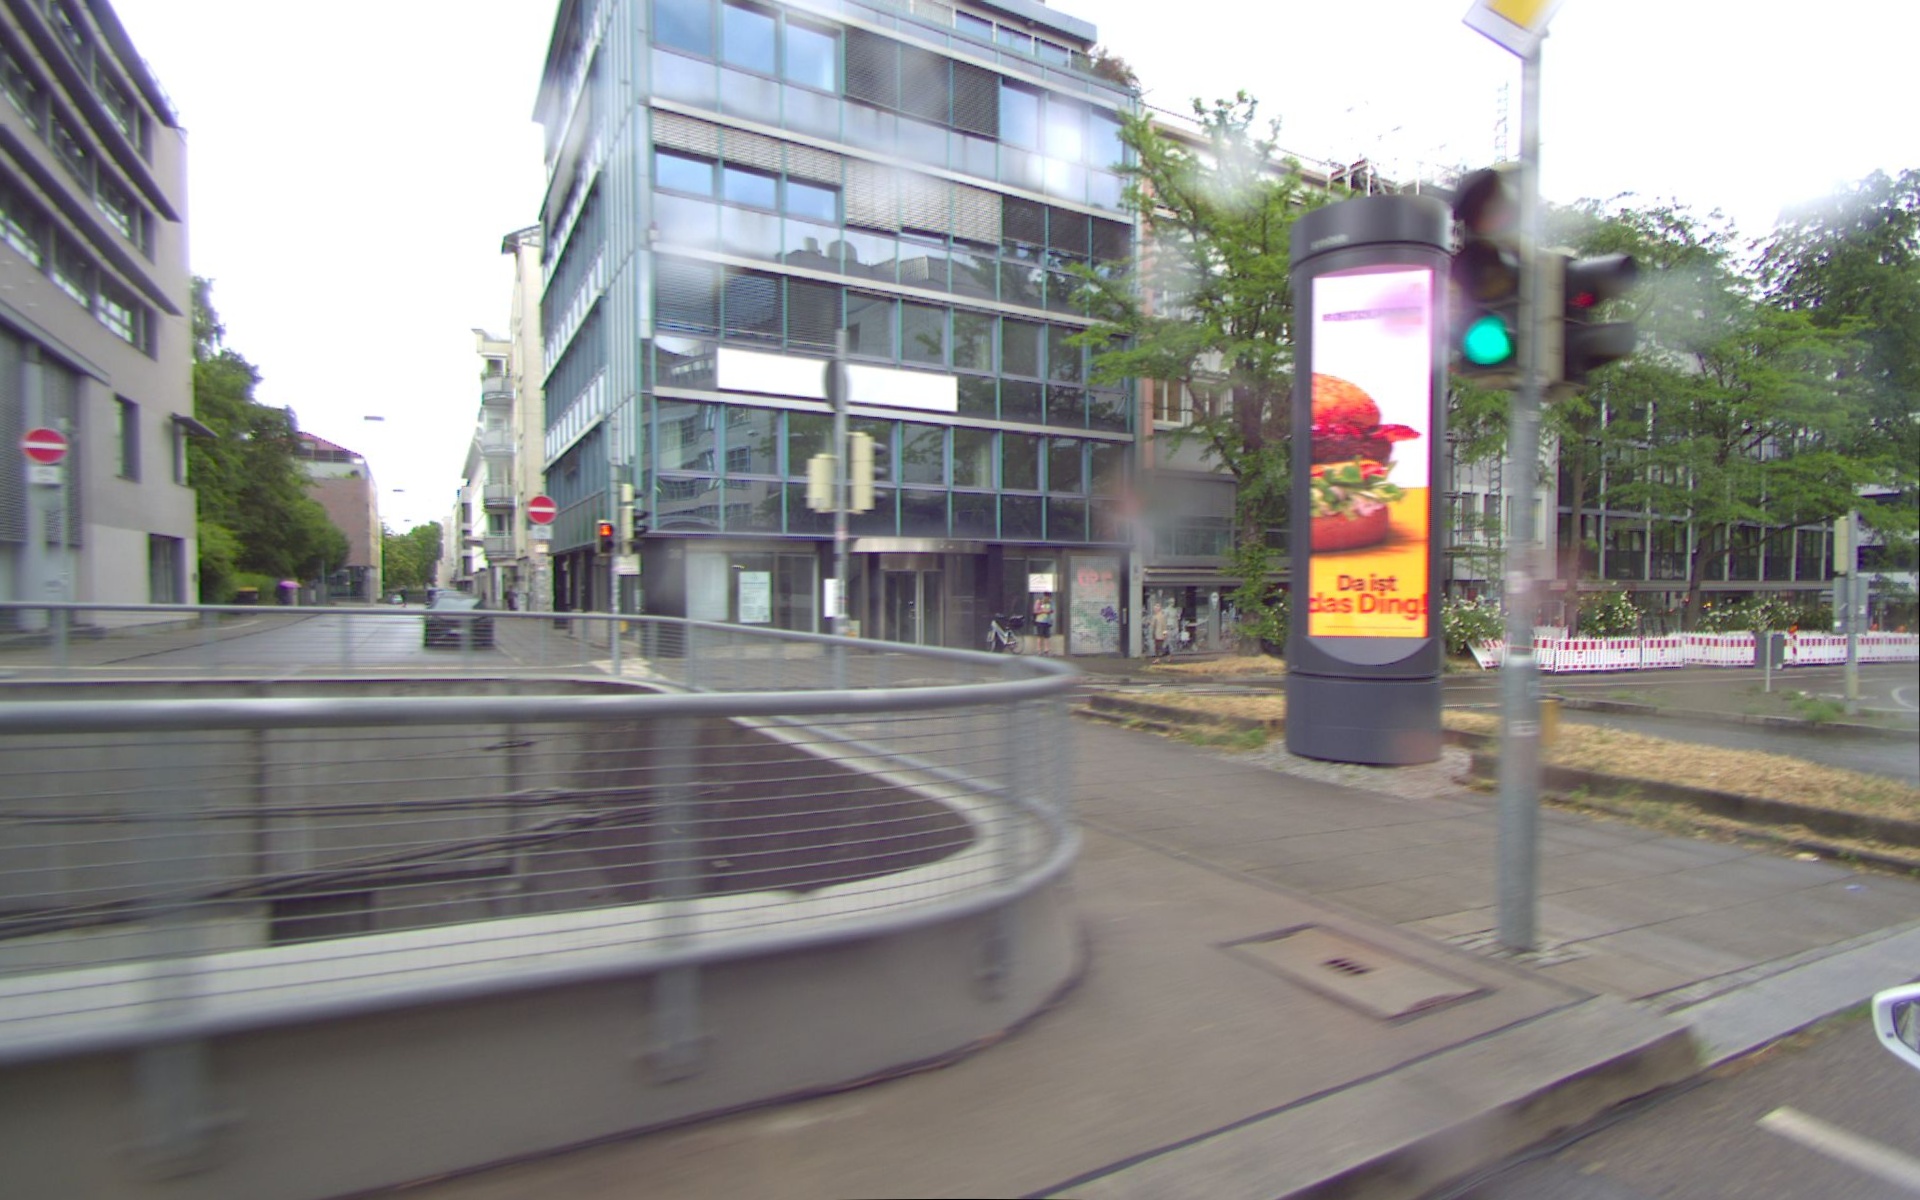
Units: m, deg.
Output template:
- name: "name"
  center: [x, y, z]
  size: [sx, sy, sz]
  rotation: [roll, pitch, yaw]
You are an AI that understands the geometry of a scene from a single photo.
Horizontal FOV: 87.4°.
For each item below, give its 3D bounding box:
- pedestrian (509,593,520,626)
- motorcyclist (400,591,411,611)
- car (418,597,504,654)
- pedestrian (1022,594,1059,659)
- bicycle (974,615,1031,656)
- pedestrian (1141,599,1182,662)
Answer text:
- name: "pedestrian"
  center: [-23.134, 0.483, 52.118]
  size: [0.443, 1.664, 0.326]
  rotation: [1, 1, -35]
- name: "motorcyclist"
  center: [-52.629, 0.114, 95.345]
  size: [0.850, 1.832, 1.008]
  rotation: [1, 1, -29]
- name: "car"
  center: [-14.941, 0.728, 29.991]
  size: [1.977, 1.578, 3.966]
  rotation: [1, -1, -31]
- name: "pedestrian"
  center: [2.245, 0.728, 28.018]
  size: [0.688, 1.765, 0.691]
  rotation: [1, 1, -35]
- name: "bicycle"
  center: [1.164, 0.976, 27.509]
  size: [1.544, 1.100, 0.444]
  rotation: [1, 0, -26]
- name: "pedestrian"
  center: [5.776, 0.878, 28.798]
  size: [0.867, 1.765, 0.689]
  rotation: [1, 1, -32]
